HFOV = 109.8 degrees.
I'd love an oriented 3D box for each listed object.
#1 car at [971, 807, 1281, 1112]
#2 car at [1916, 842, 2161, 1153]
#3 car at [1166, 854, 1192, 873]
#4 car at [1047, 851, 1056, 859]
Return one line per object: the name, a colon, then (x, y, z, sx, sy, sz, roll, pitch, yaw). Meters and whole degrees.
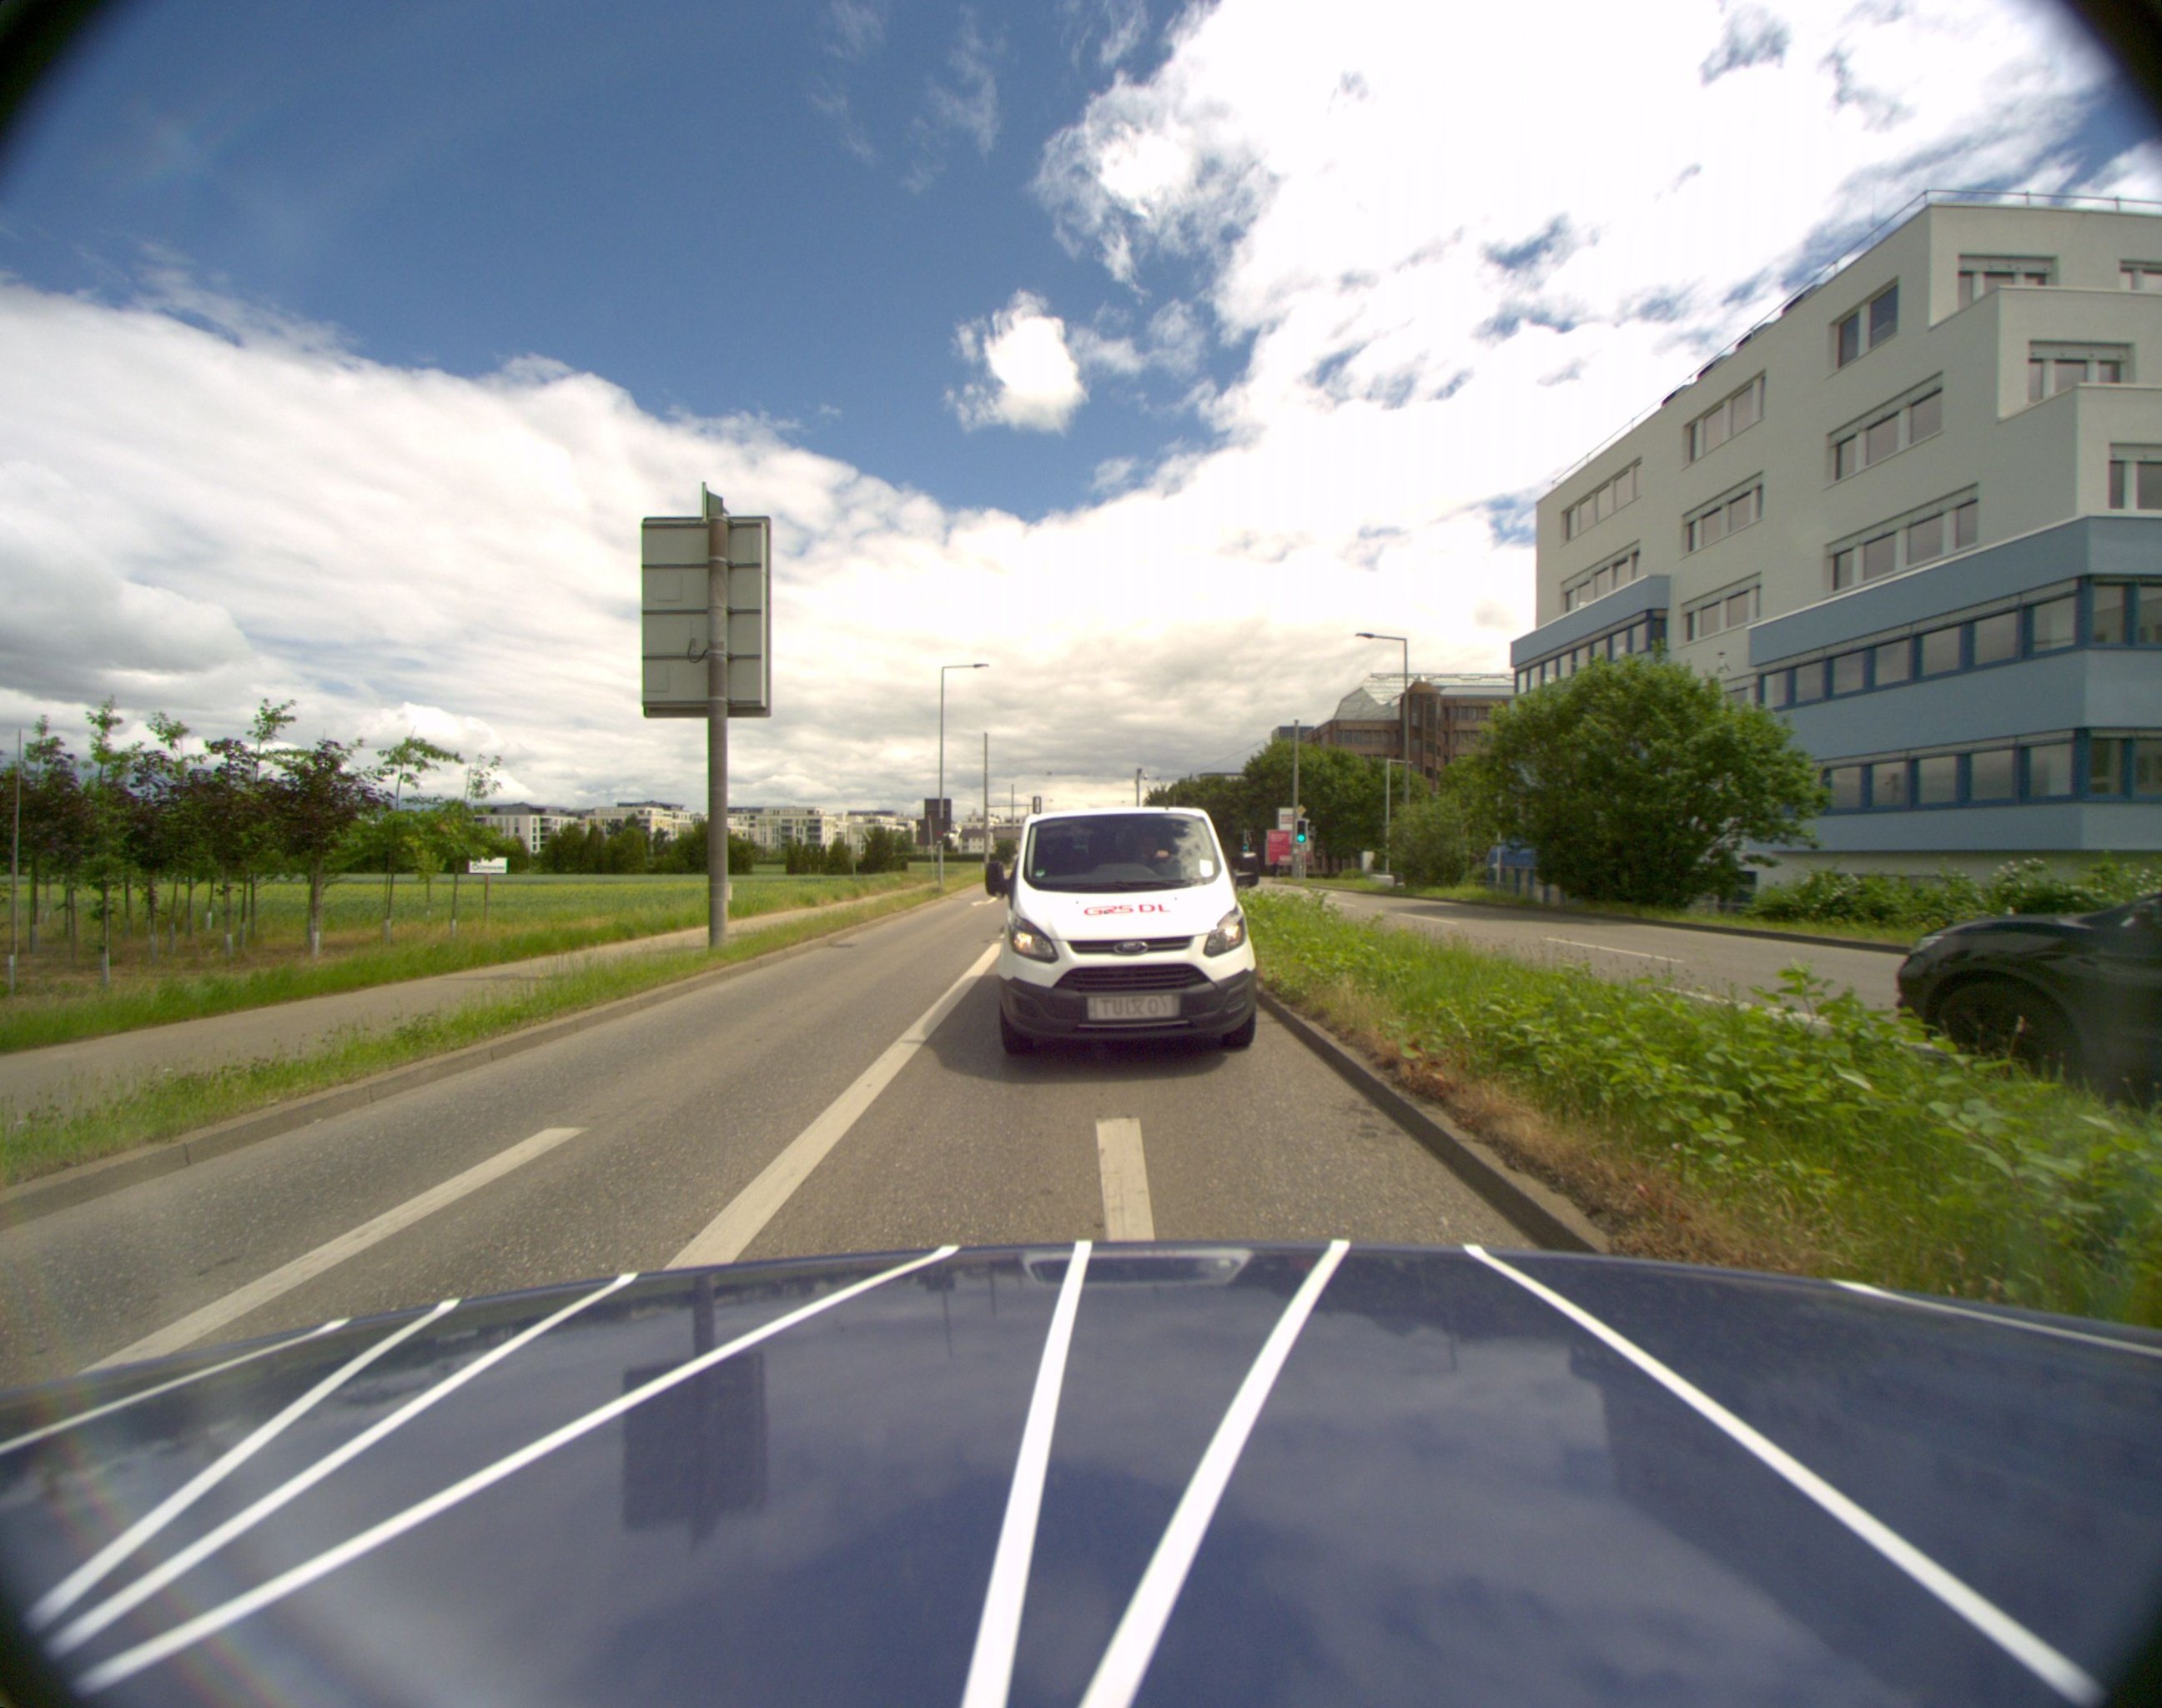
car: (0.327, 0.688, 7.474, 1.968, 1.938, 5.055, -2, 0, 1)
car: (6.397, 0.743, 3.036, 1.700, 1.592, 4.043, -1, 1, 1)
car: (8.545, 0.792, 66.469, 1.650, 1.495, 3.449, -2, 1, -4)
car: (-5.744, 0.173, 149.669, 1.682, 1.410, 3.739, -1, 1, -1)
